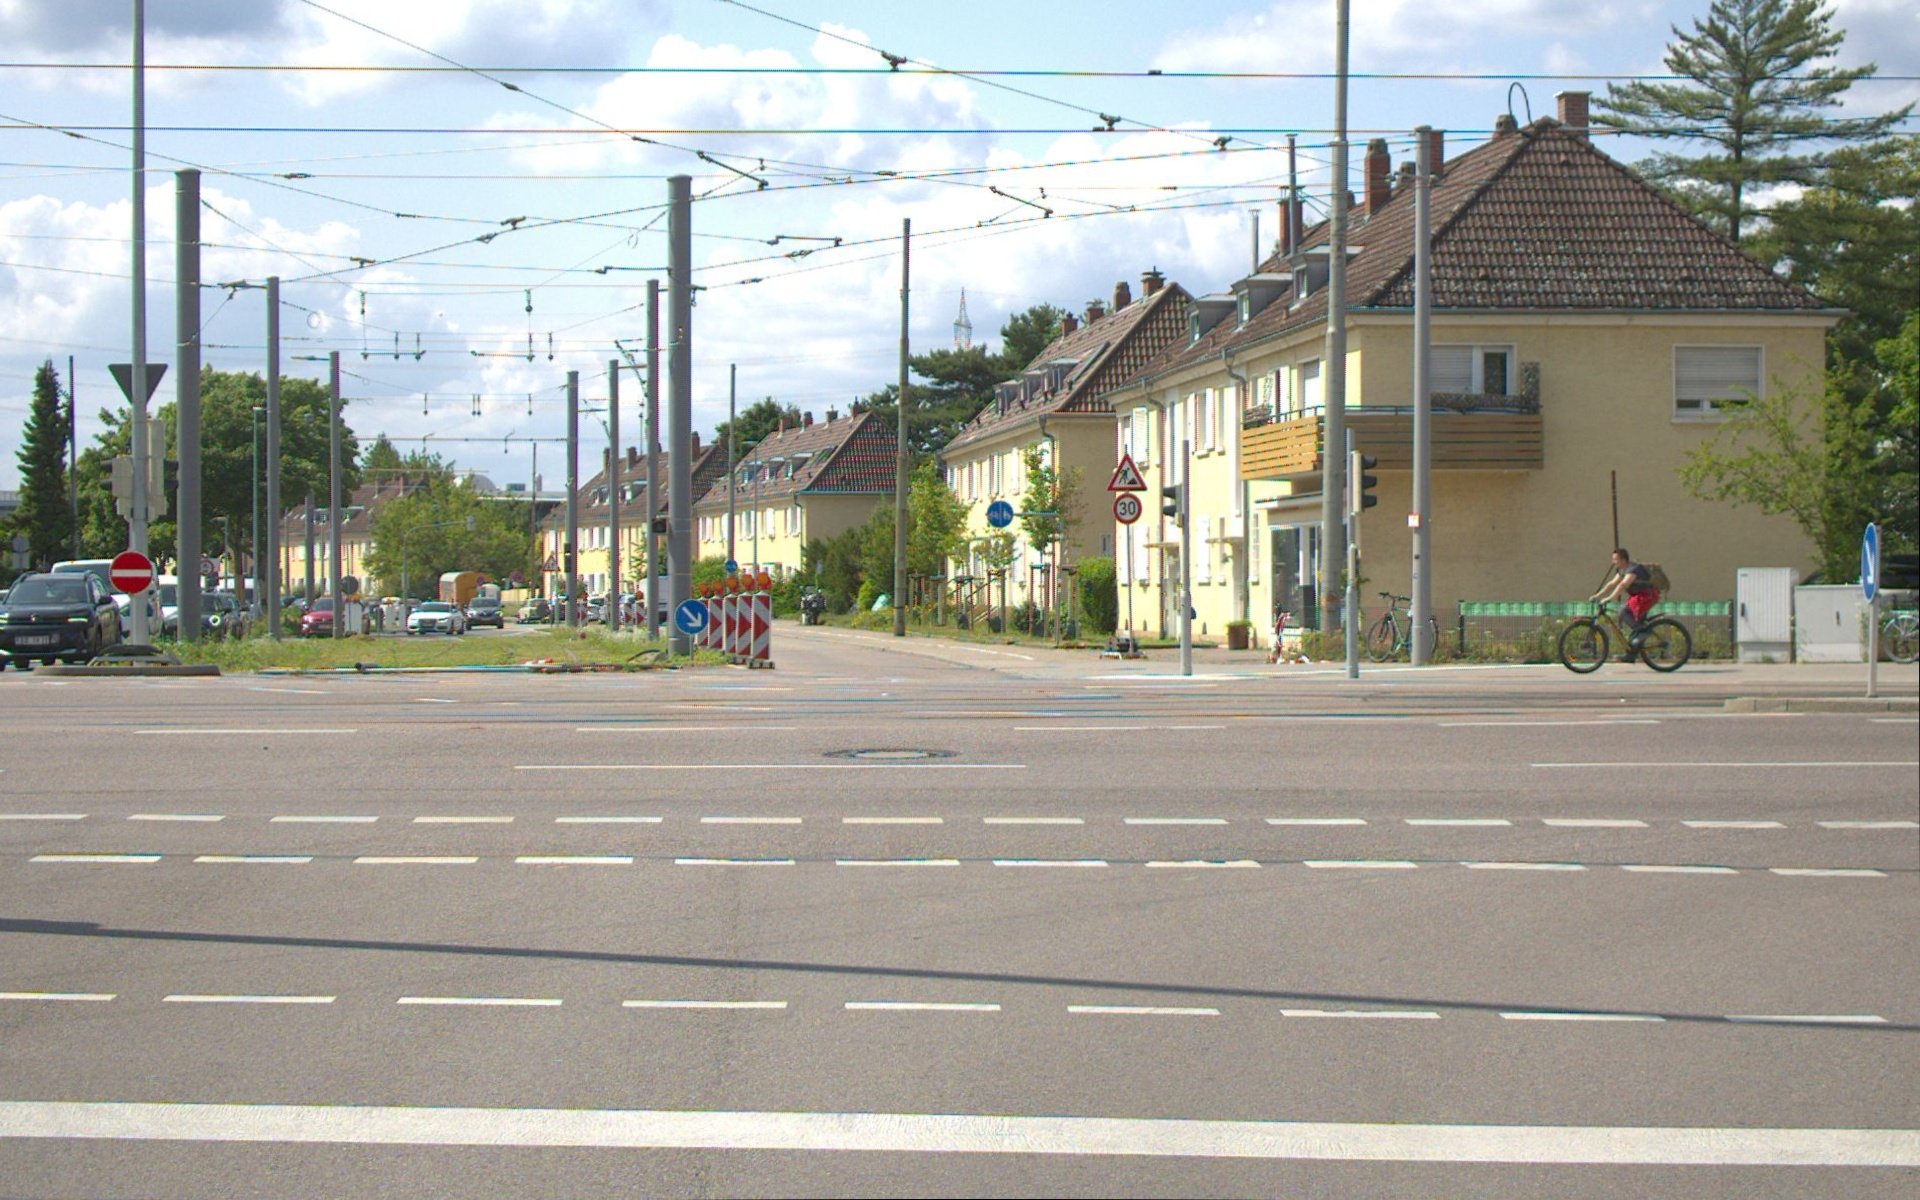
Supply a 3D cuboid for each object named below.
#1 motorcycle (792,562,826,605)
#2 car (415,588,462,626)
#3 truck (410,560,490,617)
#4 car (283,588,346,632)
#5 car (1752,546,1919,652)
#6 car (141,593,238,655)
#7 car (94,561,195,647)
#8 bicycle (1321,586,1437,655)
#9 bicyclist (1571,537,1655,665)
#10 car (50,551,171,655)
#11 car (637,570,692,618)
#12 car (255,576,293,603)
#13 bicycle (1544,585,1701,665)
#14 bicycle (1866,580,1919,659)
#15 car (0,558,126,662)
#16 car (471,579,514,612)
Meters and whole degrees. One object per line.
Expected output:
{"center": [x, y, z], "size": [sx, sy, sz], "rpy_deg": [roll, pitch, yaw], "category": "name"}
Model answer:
{"center": [-5.799, -0.628, 132.014], "size": [1.066, 1.630, 2.084], "rpy_deg": [0, 0, -8], "category": "motorcycle"}
{"center": [-21.938, 0.289, 144.747], "size": [1.843, 1.556, 4.188], "rpy_deg": [0, 0, -7], "category": "car"}
{"center": [-32.314, -0.701, 217.535], "size": [2.640, 3.482, 9.439], "rpy_deg": [0, 0, -24], "category": "truck"}
{"center": [-22.371, 0.343, 119.226], "size": [1.843, 1.489, 4.857], "rpy_deg": [0, 0, -7], "category": "car"}
{"center": [14.426, 0.012, 55.400], "size": [1.821, 1.615, 4.001], "rpy_deg": [0, -1, -10], "category": "car"}
{"center": [-18.074, 0.545, 80.798], "size": [1.914, 1.414, 4.001], "rpy_deg": [0, 0, -8], "category": "car"}
{"center": [-17.480, 0.080, 73.850], "size": [1.732, 1.776, 4.406], "rpy_deg": [-1, 0, -9], "category": "car"}
{"center": [6.783, 0.321, 55.707], "size": [0.593, 1.093, 2.277], "rpy_deg": [0, 0, -31], "category": "bicycle"}
{"center": [9.121, 0.009, 48.023], "size": [0.957, 1.769, 0.720], "rpy_deg": [0, 0, -9], "category": "bicyclist"}
{"center": [-16.253, 0.052, 65.978], "size": [1.814, 1.915, 4.749], "rpy_deg": [0, 0, -9], "category": "car"}
{"center": [-13.554, -0.277, 157.280], "size": [2.065, 2.142, 4.879], "rpy_deg": [0, 0, -10], "category": "car"}
{"center": [-50.327, -0.803, 252.255], "size": [1.993, 1.904, 4.001], "rpy_deg": [-1, 1, -22], "category": "car"}
{"center": [9.210, 0.341, 47.810], "size": [2.026, 1.098, 0.715], "rpy_deg": [0, 0, -9], "category": "bicycle"}
{"center": [13.789, 0.273, 48.535], "size": [1.806, 1.101, 0.701], "rpy_deg": [0, 0, 39], "category": "bicycle"}
{"center": [-15.643, 0.141, 59.562], "size": [1.786, 1.715, 4.442], "rpy_deg": [0, 1, -7], "category": "car"}
{"center": [-23.240, -0.231, 171.061], "size": [1.819, 1.546, 4.001], "rpy_deg": [0, 1, -4], "category": "car"}
